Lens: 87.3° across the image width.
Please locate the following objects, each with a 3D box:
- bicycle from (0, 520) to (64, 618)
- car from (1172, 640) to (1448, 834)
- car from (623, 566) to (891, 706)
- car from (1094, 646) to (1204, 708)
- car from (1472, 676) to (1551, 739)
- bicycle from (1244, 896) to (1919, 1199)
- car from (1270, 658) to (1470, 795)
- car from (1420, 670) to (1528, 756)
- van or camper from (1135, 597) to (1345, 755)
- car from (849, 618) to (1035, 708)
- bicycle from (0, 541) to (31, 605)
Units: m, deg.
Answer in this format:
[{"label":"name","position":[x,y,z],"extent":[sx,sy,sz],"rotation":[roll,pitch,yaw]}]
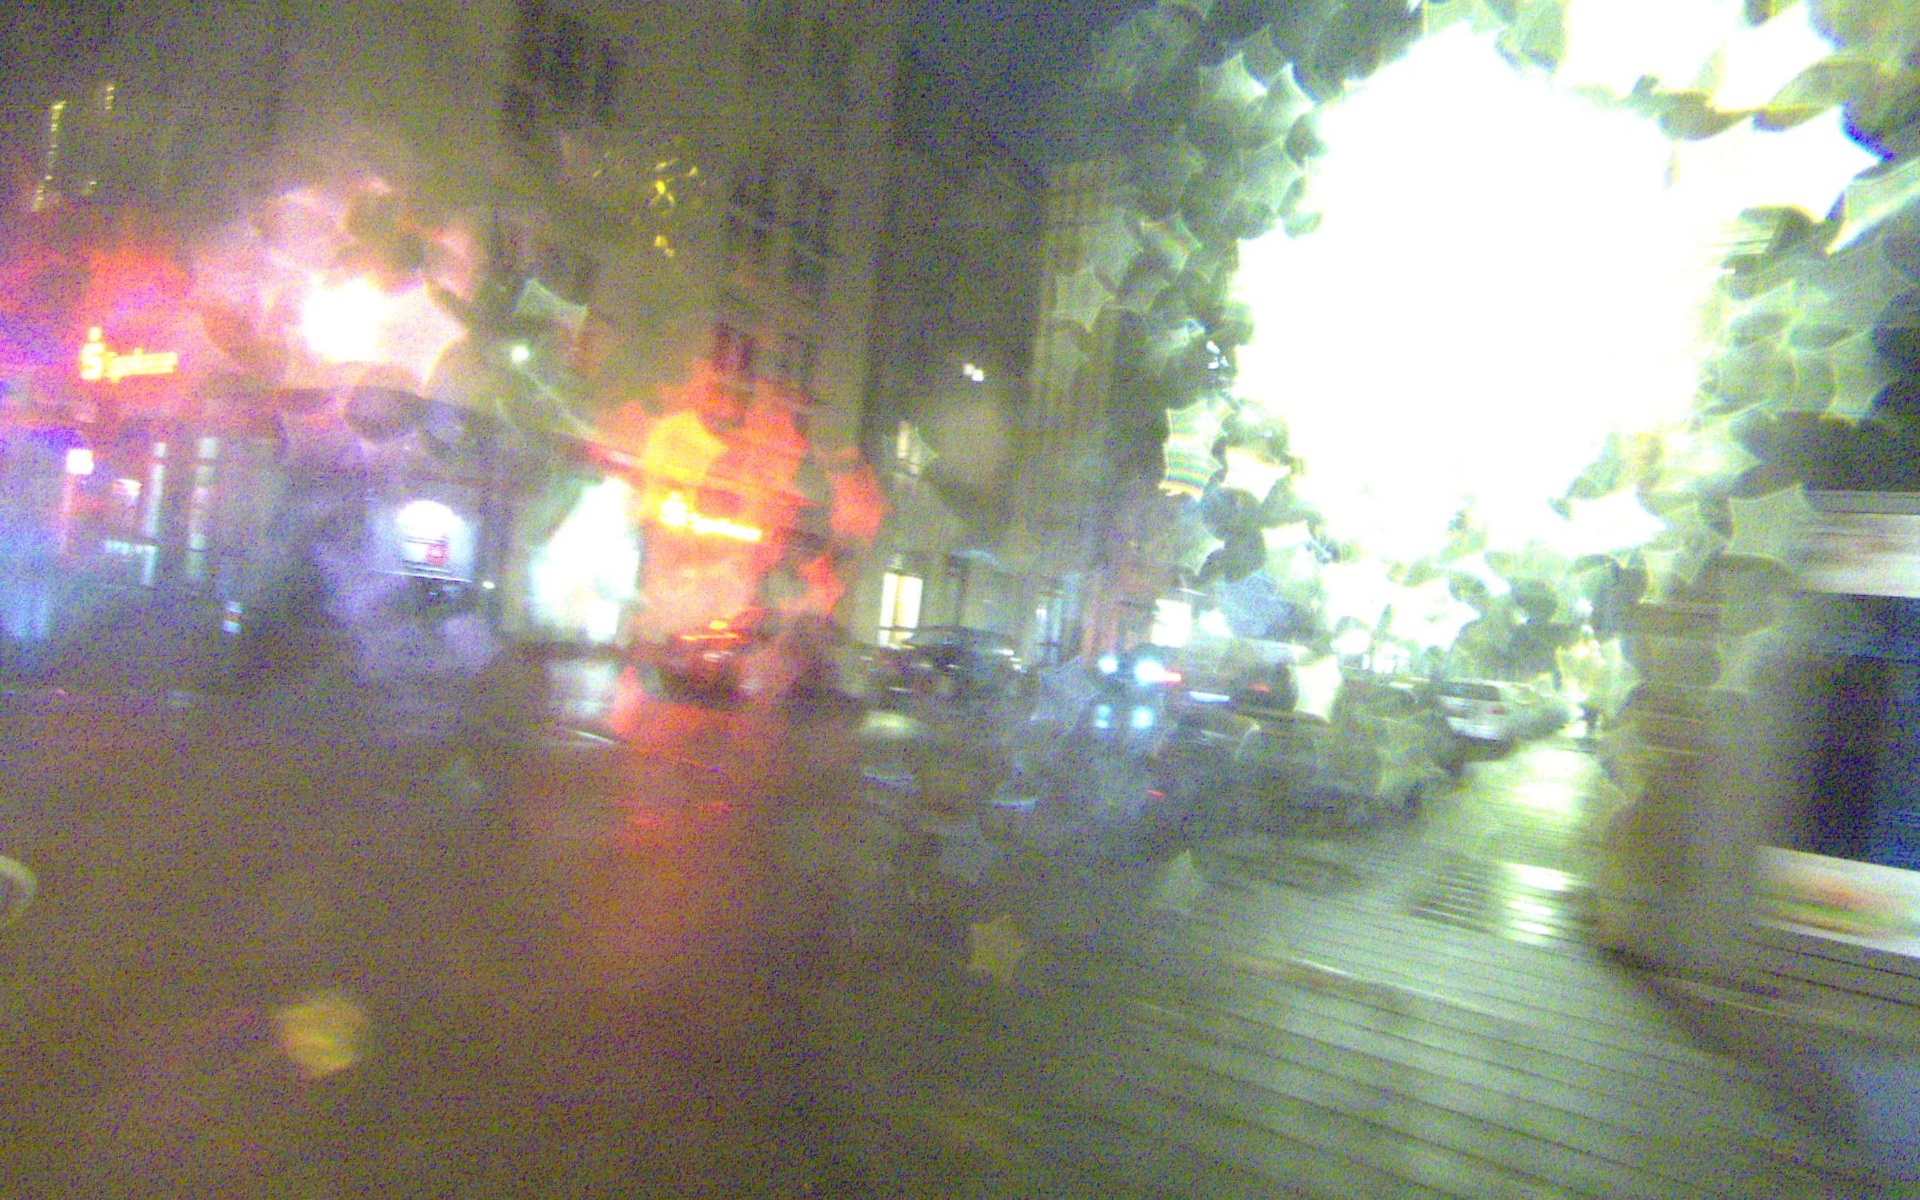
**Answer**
[{"label":"bicycle","position":[-12.115,-0.389,12.419],"extent":[0.360,1.219,1.527],"rotation":[5,4,30]},{"label":"car","position":[3.973,1.432,10.951],"extent":[1.864,1.502,3.995],"rotation":[6,-3,33]},{"label":"car","position":[-3.173,0.679,16.586],"extent":[1.812,1.790,4.154],"rotation":[6,-3,32]},{"label":"car","position":[5.831,2.385,30.673],"extent":[1.812,1.450,4.154],"rotation":[6,-3,32]},{"label":"car","position":[17.526,3.429,31.877],"extent":[1.812,1.621,4.154],"rotation":[6,-3,32]},{"label":"bicycle","position":[1.618,1.198,2.071],"extent":[2.248,0.905,0.614],"rotation":[7,0,-30]},{"label":"car","position":[6.187,1.873,14.898],"extent":[1.968,1.524,3.996],"rotation":[5,-4,32]},{"label":"car","position":[12.213,2.679,23.770],"extent":[1.812,1.621,4.154],"rotation":[6,-3,32]},{"label":"van or camper","position":[5.513,1.570,19.165],"extent":[2.085,2.424,5.326],"rotation":[5,-4,34]},{"label":"car","position":[-0.254,1.384,21.123],"extent":[1.812,1.450,4.154],"rotation":[6,-3,32]},{"label":"bicycle","position":[-13.334,-0.362,13.277],"extent":[0.320,0.845,1.526],"rotation":[6,4,35]}]
